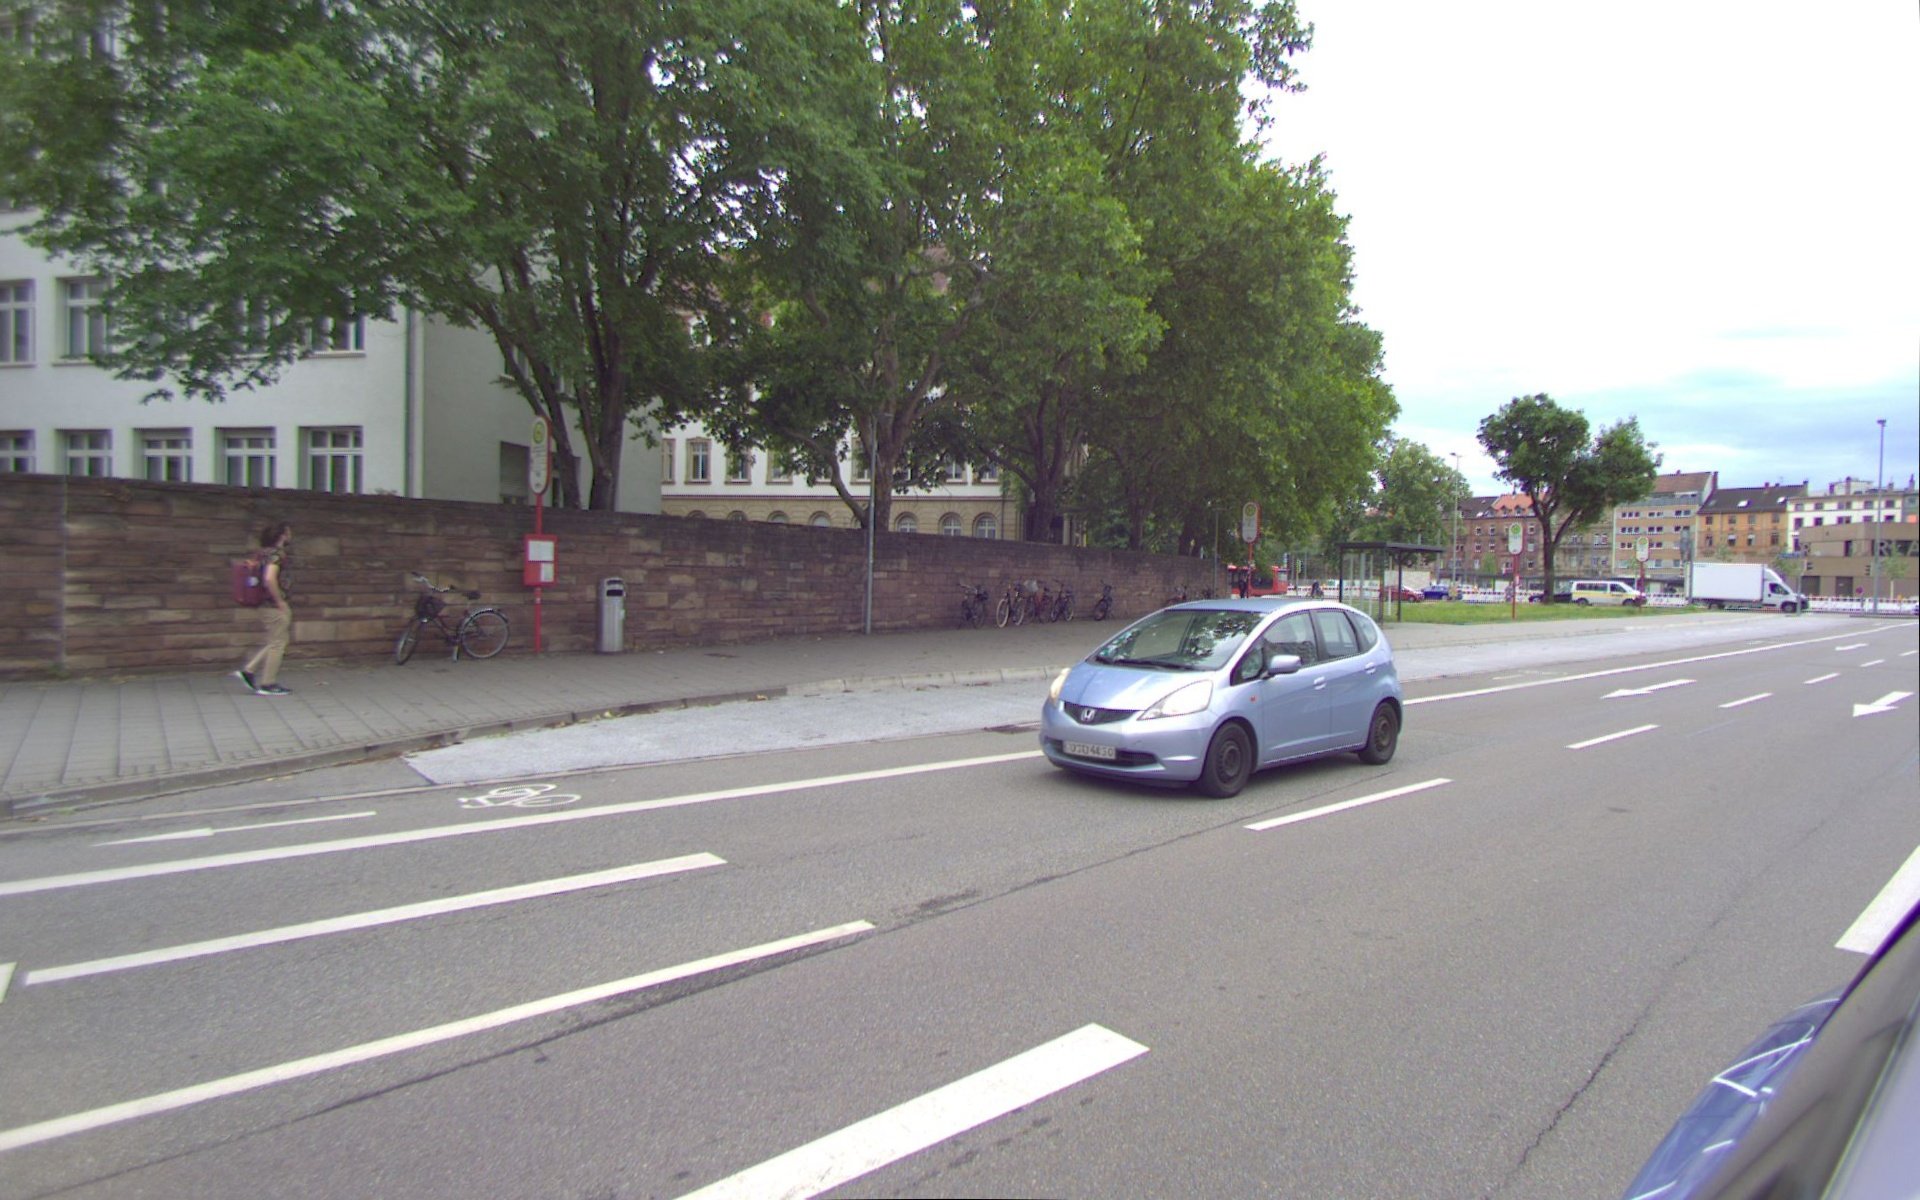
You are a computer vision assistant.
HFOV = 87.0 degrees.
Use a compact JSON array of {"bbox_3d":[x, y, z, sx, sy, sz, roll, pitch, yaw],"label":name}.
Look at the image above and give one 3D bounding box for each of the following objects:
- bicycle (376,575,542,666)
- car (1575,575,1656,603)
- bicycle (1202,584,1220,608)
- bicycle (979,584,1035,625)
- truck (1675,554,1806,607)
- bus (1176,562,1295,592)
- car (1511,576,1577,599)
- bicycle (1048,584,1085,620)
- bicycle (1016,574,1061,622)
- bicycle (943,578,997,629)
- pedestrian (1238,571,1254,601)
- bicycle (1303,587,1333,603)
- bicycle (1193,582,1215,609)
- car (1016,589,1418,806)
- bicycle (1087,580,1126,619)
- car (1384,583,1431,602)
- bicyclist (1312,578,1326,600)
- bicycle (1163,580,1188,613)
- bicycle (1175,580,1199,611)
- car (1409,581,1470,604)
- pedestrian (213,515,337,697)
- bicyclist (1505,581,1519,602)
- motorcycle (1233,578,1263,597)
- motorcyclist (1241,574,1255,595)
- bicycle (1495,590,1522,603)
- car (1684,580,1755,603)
[{"bbox_3d":[-6.958,0.242,14.139,0.845,1.141,1.900,4,3,34],"label":"bicycle"},{"bbox_3d":[48.373,-0.841,74.728,1.890,1.942,4.704,-4,4,-44],"label":"car"},{"bbox_3d":[11.019,-0.198,44.351,0.544,1.004,1.626,3,2,20],"label":"bicycle"},{"bbox_3d":[1.212,0.097,25.753,0.650,0.963,1.751,3,2,31],"label":"bicycle"},{"bbox_3d":[53.347,-1.381,69.293,6.835,3.453,2.520,1,3,45],"label":"truck"},{"bbox_3d":[28.068,-2.377,103.892,2.889,2.944,12.067,0,1,-44],"label":"bus"},{"bbox_3d":[47.330,-1.018,82.116,1.659,1.657,4.283,1,3,-39],"label":"car"},{"bbox_3d":[3.047,0.046,28.824,0.414,0.954,1.508,3,2,31],"label":"bicycle"},{"bbox_3d":[2.135,-0.073,27.307,0.497,1.236,1.609,3,2,31],"label":"bicycle"},{"bbox_3d":[0.250,0.057,24.103,0.712,1.113,1.781,3,2,20],"label":"bicycle"},{"bbox_3d":[17.232,-0.878,60.911,0.745,1.756,0.821,3,2,10],"label":"pedestrian"},{"bbox_3d":[31.555,-0.442,89.248,2.384,1.340,0.753,4,3,44],"label":"bicycle"},{"bbox_3d":[10.333,-0.214,42.781,0.589,1.072,1.700,3,2,23],"label":"bicycle"},{"bbox_3d":[2.353,0.658,8.832,3.596,1.484,1.669,-1,1,-41],"label":"car"},{"bbox_3d":[4.450,-0.041,30.618,0.593,1.118,1.638,3,2,29],"label":"bicycle"},{"bbox_3d":[37.983,-0.612,85.948,3.422,1.399,1.266,2,-6,44],"label":"car"},{"bbox_3d":[31.627,-0.963,89.188,0.893,1.883,0.753,4,2,43],"label":"bicyclist"},{"bbox_3d":[8.137,-0.148,38.155,0.589,1.150,1.700,3,2,23],"label":"bicycle"},{"bbox_3d":[8.921,-0.183,39.689,0.589,1.143,1.700,3,2,23],"label":"bicycle"},{"bbox_3d":[42.042,-0.673,88.816,1.736,1.767,4.422,0,3,-44],"label":"car"},{"bbox_3d":[-7.294,0.049,10.784,1.014,1.844,0.632,1,2,-41],"label":"pedestrian"},{"bbox_3d":[42.362,-0.662,77.655,0.737,1.526,0.757,4,2,39],"label":"bicyclist"},{"bbox_3d":[26.658,-1.126,93.641,2.501,1.621,0.917,4,3,37],"label":"motorcycle"},{"bbox_3d":[26.661,-1.446,93.619,0.913,1.851,0.917,4,2,37],"label":"motorcyclist"},{"bbox_3d":[42.186,-0.261,77.787,1.687,0.926,0.757,4,3,39],"label":"bicycle"},{"bbox_3d":[55.711,-0.650,74.306,4.007,1.493,1.798,4,3,35],"label":"car"}]
